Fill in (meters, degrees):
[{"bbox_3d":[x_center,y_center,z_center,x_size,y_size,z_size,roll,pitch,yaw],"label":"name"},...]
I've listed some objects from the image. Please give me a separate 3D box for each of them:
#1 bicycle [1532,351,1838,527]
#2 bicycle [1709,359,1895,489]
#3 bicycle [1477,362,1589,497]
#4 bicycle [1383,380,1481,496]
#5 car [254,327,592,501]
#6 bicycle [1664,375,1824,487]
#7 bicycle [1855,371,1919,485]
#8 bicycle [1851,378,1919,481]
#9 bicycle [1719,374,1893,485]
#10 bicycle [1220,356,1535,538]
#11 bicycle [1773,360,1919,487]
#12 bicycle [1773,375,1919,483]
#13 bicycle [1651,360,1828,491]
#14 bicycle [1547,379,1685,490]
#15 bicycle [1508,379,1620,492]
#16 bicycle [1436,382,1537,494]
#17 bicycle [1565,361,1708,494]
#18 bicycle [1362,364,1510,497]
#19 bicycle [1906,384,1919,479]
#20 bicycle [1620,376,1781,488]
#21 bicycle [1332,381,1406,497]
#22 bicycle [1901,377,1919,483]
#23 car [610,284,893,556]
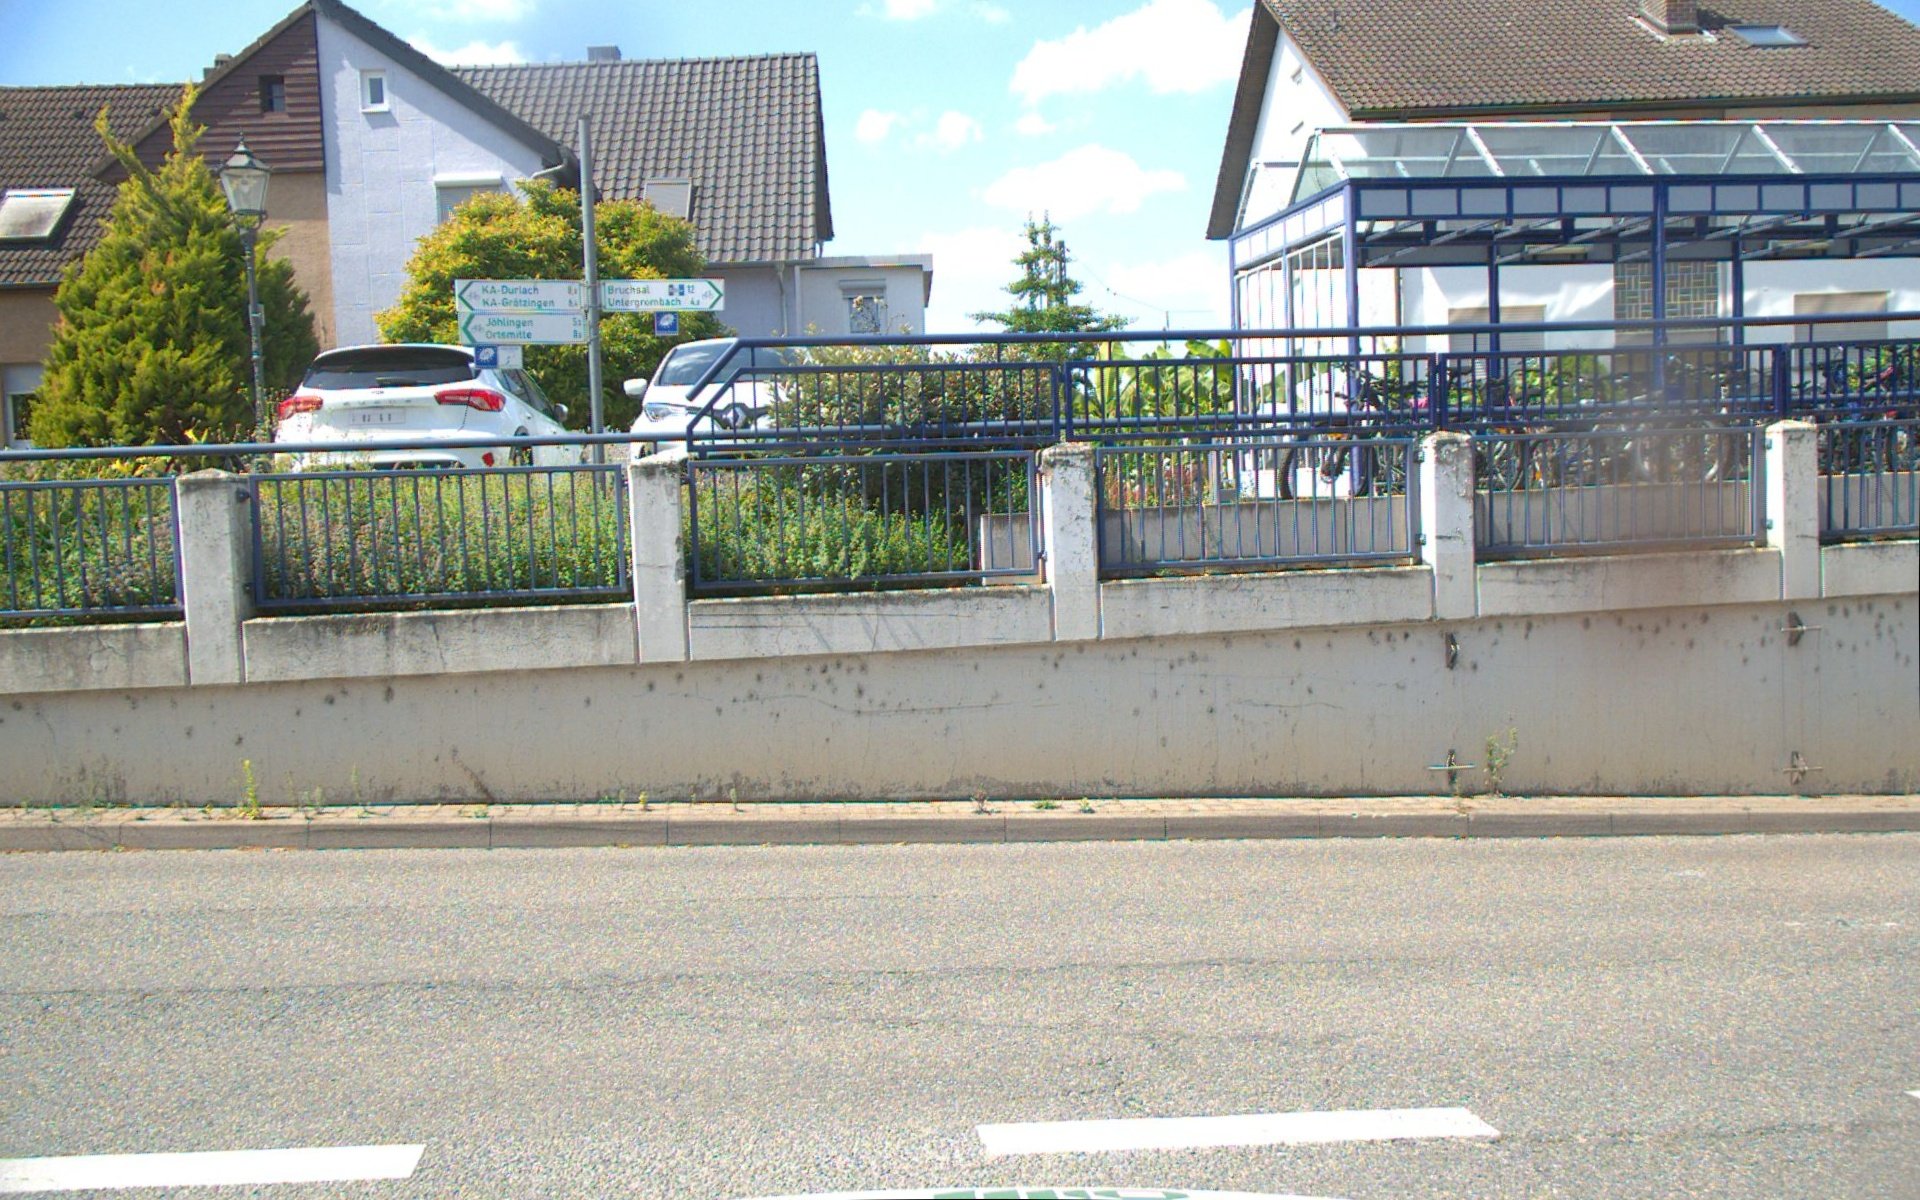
[{"bbox_3d":[5.013,-1.114,11.433,2.077,1.145,0.391,-2,3,-11],"label":"bicycle"},{"bbox_3d":[7.294,-1.491,14.450,0.426,1.012,2.281,-2,3,-1],"label":"bicycle"},{"bbox_3d":[4.702,-1.366,13.671,0.426,1.012,2.104,-1,3,7],"label":"bicycle"},{"bbox_3d":[4.506,-1.522,15.890,0.365,1.012,1.966,-2,3,0],"label":"bicycle"},{"bbox_3d":[-4.184,-1.421,13.444,1.789,1.037,3.457,1,1,-4],"label":"car"},{"bbox_3d":[7.828,-1.666,16.605,0.406,1.012,1.962,-2,3,-9],"label":"bicycle"},{"bbox_3d":[8.969,-1.564,14.815,0.522,1.012,2.185,-2,3,-7],"label":"bicycle"},{"bbox_3d":[9.928,-1.740,16.760,0.509,1.012,1.962,-2,3,-9],"label":"bicycle"},{"bbox_3d":[8.517,-1.695,16.747,0.509,1.012,1.962,-2,3,-9],"label":"bicycle"},{"bbox_3d":[2.787,-1.021,11.014,2.077,1.145,0.332,-2,3,-11],"label":"bicycle"},{"bbox_3d":[8.051,-1.516,14.471,0.522,1.012,2.278,-2,3,-7],"label":"bicycle"},{"bbox_3d":[9.151,-1.728,16.977,0.509,1.012,1.798,-2,3,-9],"label":"bicycle"},{"bbox_3d":[6.725,-1.470,14.389,0.426,1.012,2.281,-2,3,-1],"label":"bicycle"},{"bbox_3d":[6.524,-1.622,16.548,0.418,1.012,1.964,-2,3,-6],"label":"bicycle"},{"bbox_3d":[5.923,-1.589,16.304,0.365,1.012,1.966,-2,3,0],"label":"bicycle"},{"bbox_3d":[5.189,-1.572,16.393,0.365,1.012,1.966,-2,3,0],"label":"bicycle"},{"bbox_3d":[5.674,-1.415,13.988,0.426,1.012,2.103,-1,3,2],"label":"bicycle"},{"bbox_3d":[3.989,-1.397,14.009,0.326,1.012,2.071,-2,3,-10],"label":"bicycle"},{"bbox_3d":[10.628,-1.773,16.952,0.509,1.012,1.962,-2,3,-9],"label":"bicycle"},{"bbox_3d":[7.363,-1.648,16.544,0.465,1.012,1.962,-2,3,-9],"label":"bicycle"},{"bbox_3d":[3.852,-1.487,15.652,0.445,1.012,1.890,-1,3,7],"label":"bicycle"},{"bbox_3d":[9.606,-1.603,15.145,0.522,1.012,2.185,-2,3,-7],"label":"bicycle"},{"bbox_3d":[-1.601,-1.324,13.776,1.954,1.828,4.194,1,1,-4],"label":"car"}]
